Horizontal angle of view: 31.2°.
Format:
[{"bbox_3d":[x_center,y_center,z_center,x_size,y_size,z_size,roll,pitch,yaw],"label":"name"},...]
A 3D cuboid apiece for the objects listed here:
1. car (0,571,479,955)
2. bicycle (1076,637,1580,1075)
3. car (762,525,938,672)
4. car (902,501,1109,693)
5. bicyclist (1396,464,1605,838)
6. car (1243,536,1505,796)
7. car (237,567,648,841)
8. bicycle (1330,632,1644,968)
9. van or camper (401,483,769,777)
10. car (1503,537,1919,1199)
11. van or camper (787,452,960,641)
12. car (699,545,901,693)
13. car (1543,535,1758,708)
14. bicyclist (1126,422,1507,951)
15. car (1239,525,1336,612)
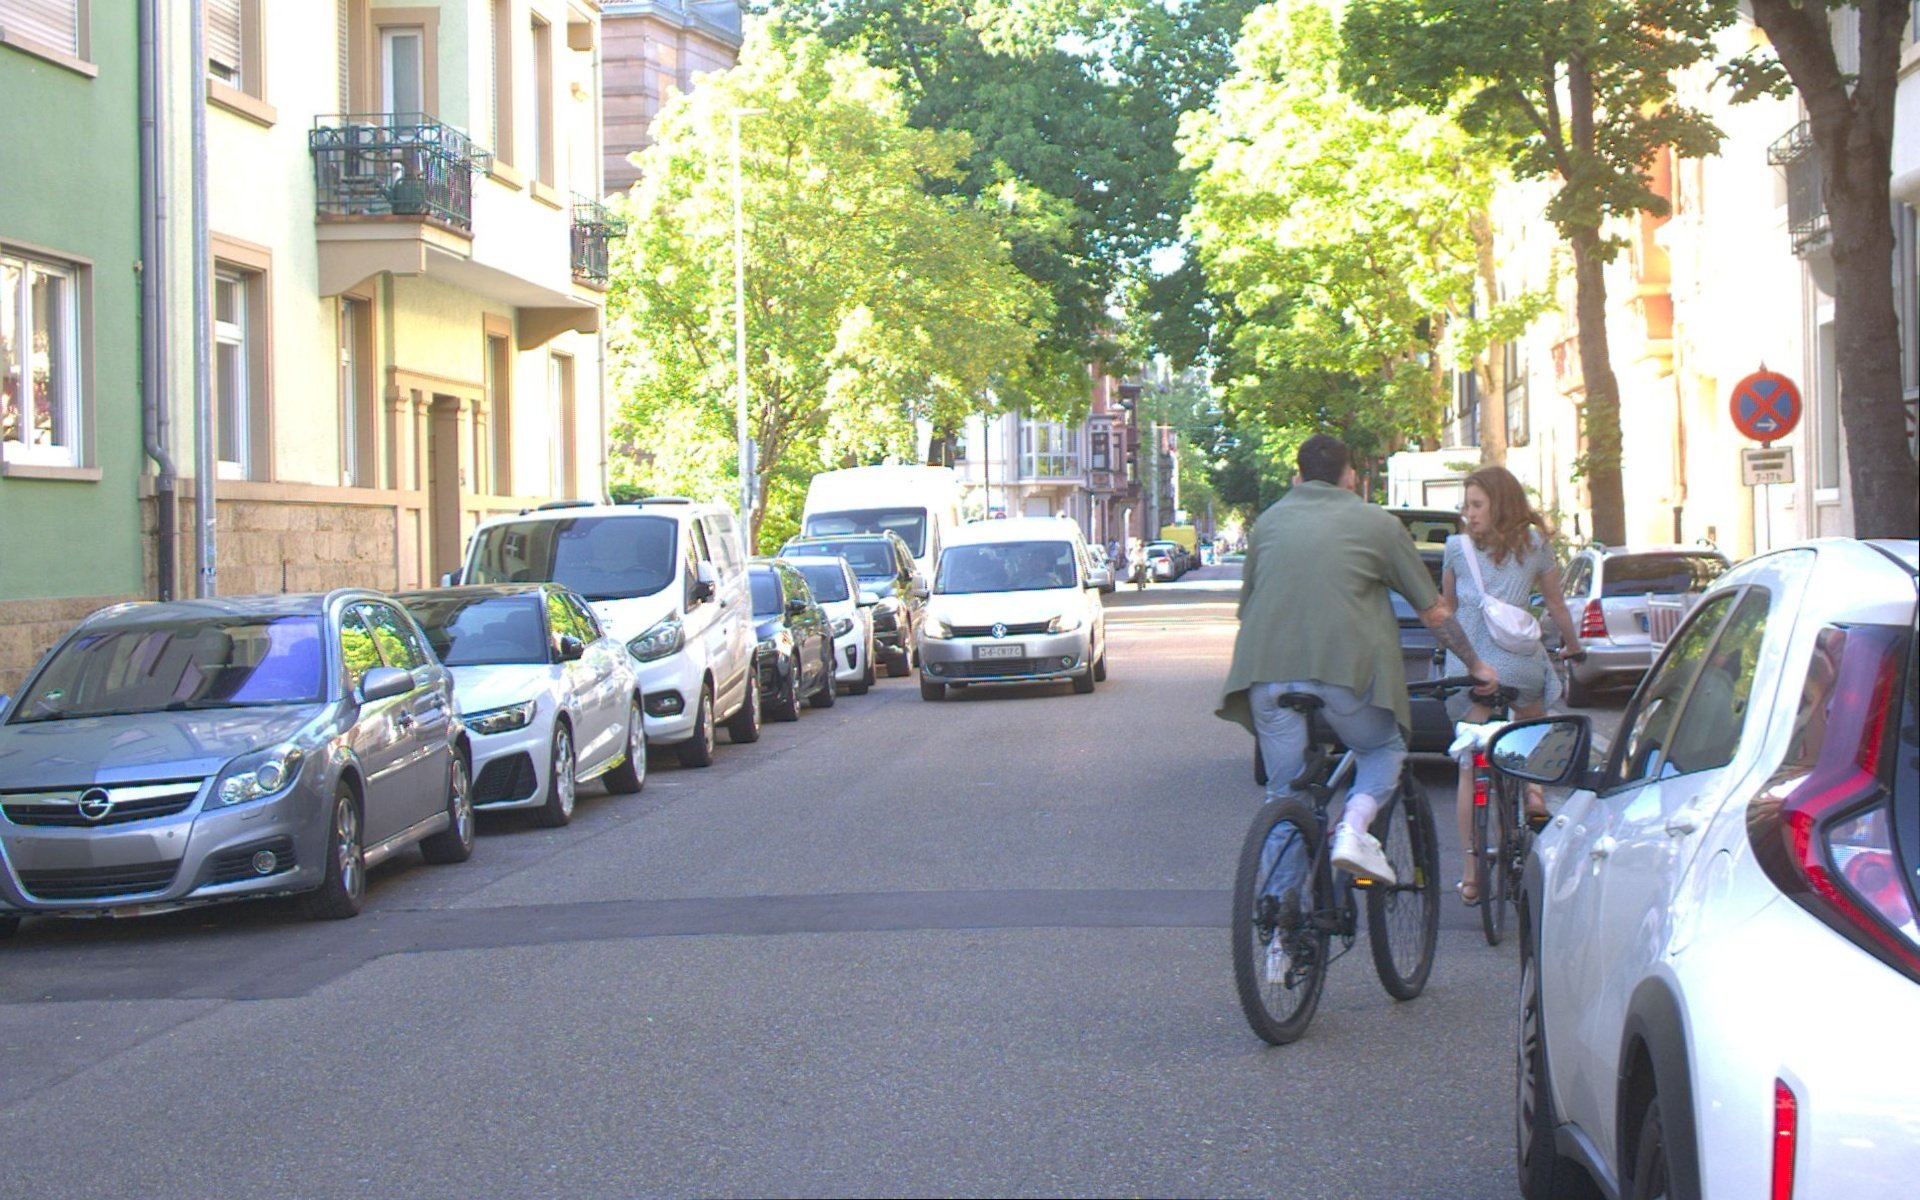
[{"bbox_3d":[-3.597,0.661,15.972,1.979,1.450,4.114,-3,1,2],"label":"car"},{"bbox_3d":[1.213,0.727,10.778,0.840,1.145,2.229,2,2,26],"label":"bicycle"},{"bbox_3d":[-1.298,-0.055,42.295,1.711,1.693,4.000,-1,1,5],"label":"car"},{"bbox_3d":[0.533,-0.058,35.969,1.782,1.854,4.198,-1,1,6],"label":"car"},{"bbox_3d":[2.084,0.214,13.208,0.623,1.376,0.867,-2,-4,18],"label":"bicyclist"},{"bbox_3d":[2.672,0.359,22.378,1.557,1.527,3.486,0,1,6],"label":"car"},{"bbox_3d":[-3.054,0.565,21.008,1.687,1.448,3.710,-2,1,4],"label":"car"},{"bbox_3d":[2.071,0.710,13.226,0.840,1.145,2.230,0,0,18],"label":"bicycle"},{"bbox_3d":[-2.768,0.165,26.544,1.994,2.007,4.911,-2,1,3],"label":"van or camper"},{"bbox_3d":[1.978,0.667,6.326,1.675,1.540,3.403,1,1,5],"label":"car"},{"bbox_3d":[-1.177,-0.787,49.274,1.994,2.544,5.022,-1,1,4],"label":"van or camper"},{"bbox_3d":[-1.707,0.166,37.841,1.711,1.499,4.000,-1,1,5],"label":"car"},{"bbox_3d":[6.179,0.149,31.049,1.557,1.404,3.380,2,2,6],"label":"car"},{"bbox_3d":[1.118,0.278,10.720,0.883,1.556,0.866,-2,-3,29],"label":"bicyclist"},{"bbox_3d":[6.385,-0.640,67.277,1.687,1.599,4.000,-2,1,3],"label":"car"}]
